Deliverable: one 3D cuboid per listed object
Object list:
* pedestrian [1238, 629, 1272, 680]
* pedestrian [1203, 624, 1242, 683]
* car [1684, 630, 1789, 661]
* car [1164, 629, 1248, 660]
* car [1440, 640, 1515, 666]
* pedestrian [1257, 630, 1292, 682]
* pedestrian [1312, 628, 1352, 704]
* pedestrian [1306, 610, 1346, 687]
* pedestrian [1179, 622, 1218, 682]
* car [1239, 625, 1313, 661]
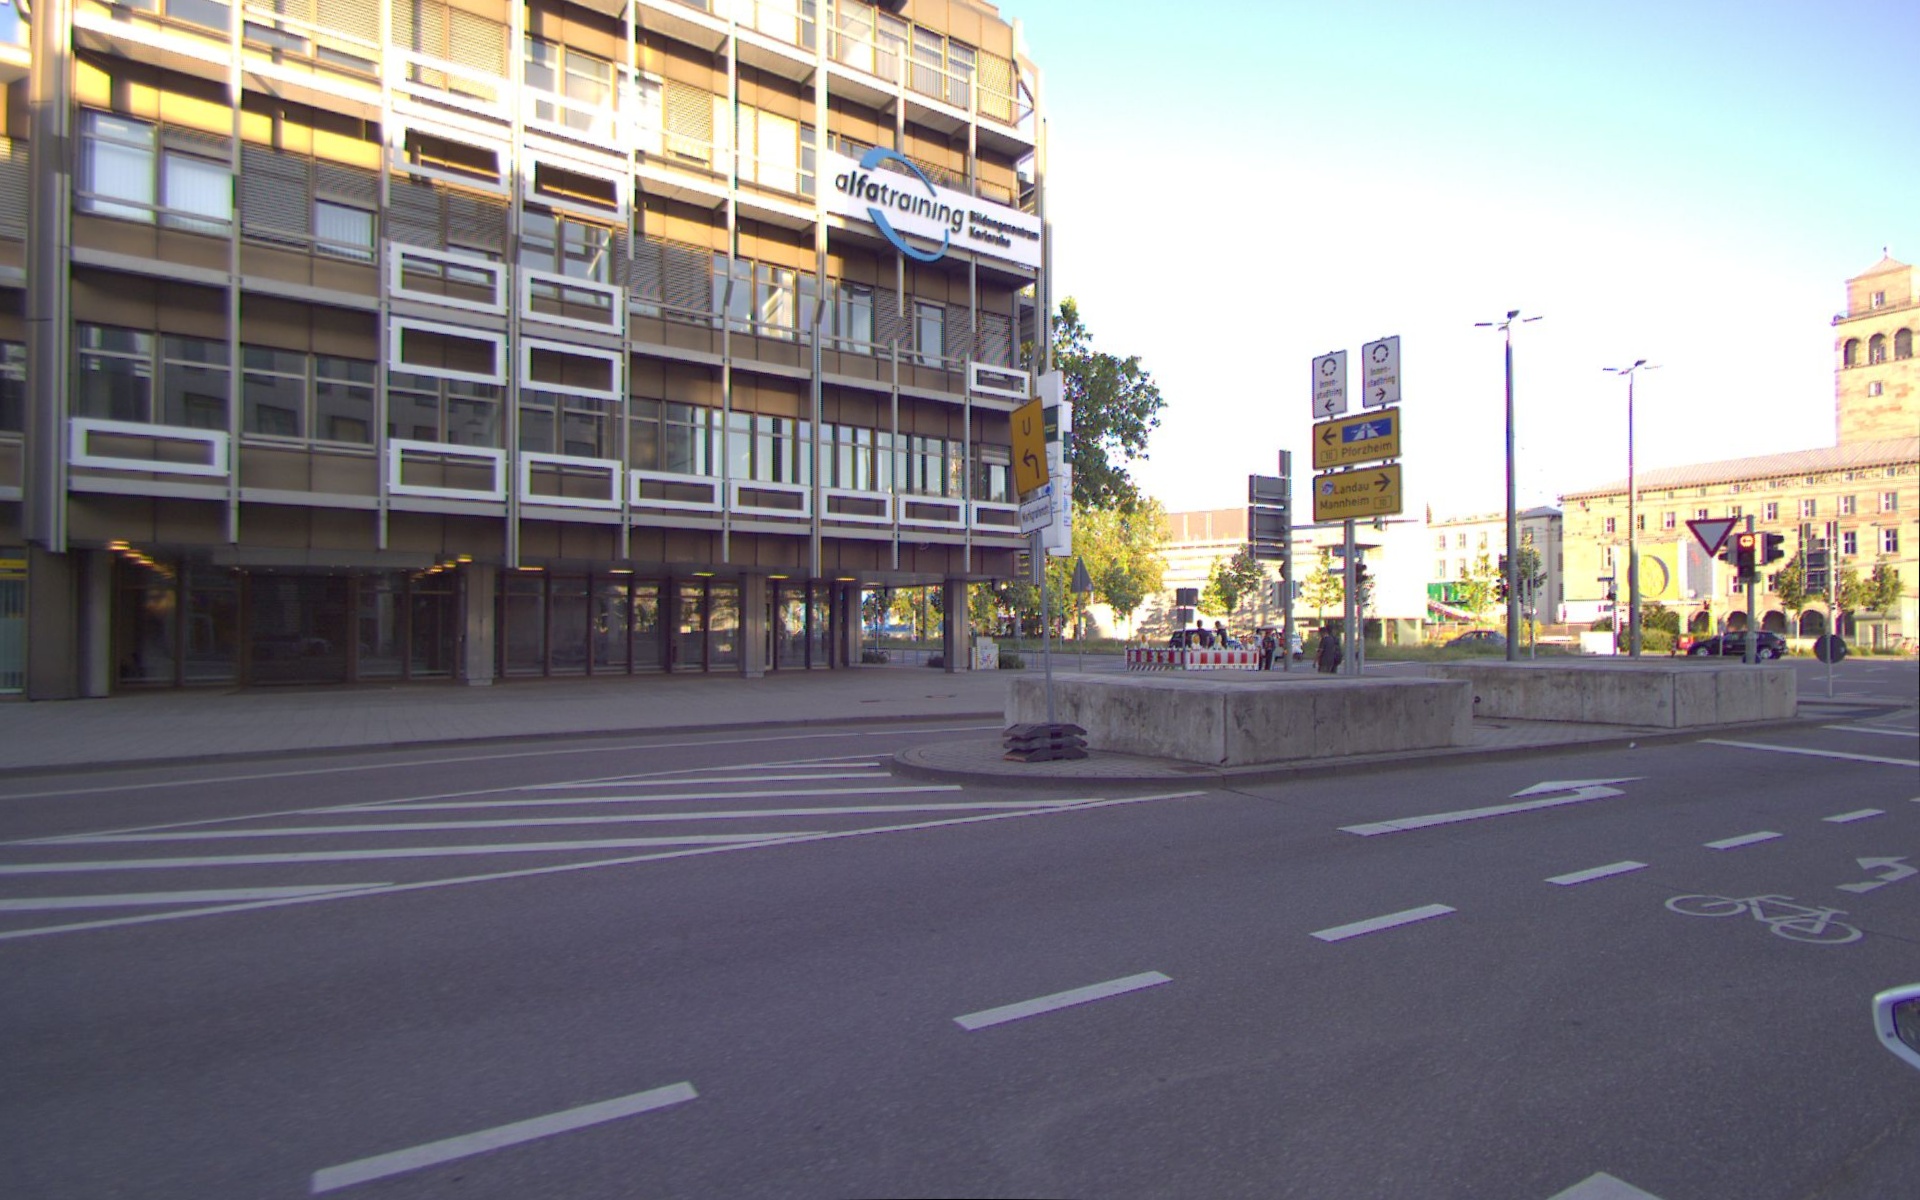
[{"bbox_3d":[10.567,1.964,35.994,0.734,1.799,0.854,1,-4,-39],"label":"pedestrian"},{"bbox_3d":[8.204,1.669,31.419,0.854,1.799,0.734,1,-4,-33],"label":"pedestrian"},{"bbox_3d":[38.687,2.236,50.121,1.533,1.472,3.942,1,-2,-41],"label":"car"},{"bbox_3d":[13.006,2.336,53.272,1.682,1.613,4.148,1,-2,-39],"label":"car"},{"bbox_3d":[30.867,3.149,59.987,1.531,1.472,3.688,1,-2,-37],"label":"car"},{"bbox_3d":[11.018,1.971,35.200,0.734,1.799,0.854,1,-4,-39],"label":"pedestrian"},{"bbox_3d":[9.177,1.606,24.775,0.728,1.800,0.861,0,-1,35],"label":"pedestrian"},{"bbox_3d":[8.814,1.154,24.171,0.728,1.800,0.861,-1,-1,32],"label":"pedestrian"},{"bbox_3d":[7.355,1.600,31.016,0.854,1.799,0.735,1,-4,-32],"label":"pedestrian"},{"bbox_3d":[15.563,2.099,49.542,1.601,1.707,3.101,1,-2,-44],"label":"car"}]
